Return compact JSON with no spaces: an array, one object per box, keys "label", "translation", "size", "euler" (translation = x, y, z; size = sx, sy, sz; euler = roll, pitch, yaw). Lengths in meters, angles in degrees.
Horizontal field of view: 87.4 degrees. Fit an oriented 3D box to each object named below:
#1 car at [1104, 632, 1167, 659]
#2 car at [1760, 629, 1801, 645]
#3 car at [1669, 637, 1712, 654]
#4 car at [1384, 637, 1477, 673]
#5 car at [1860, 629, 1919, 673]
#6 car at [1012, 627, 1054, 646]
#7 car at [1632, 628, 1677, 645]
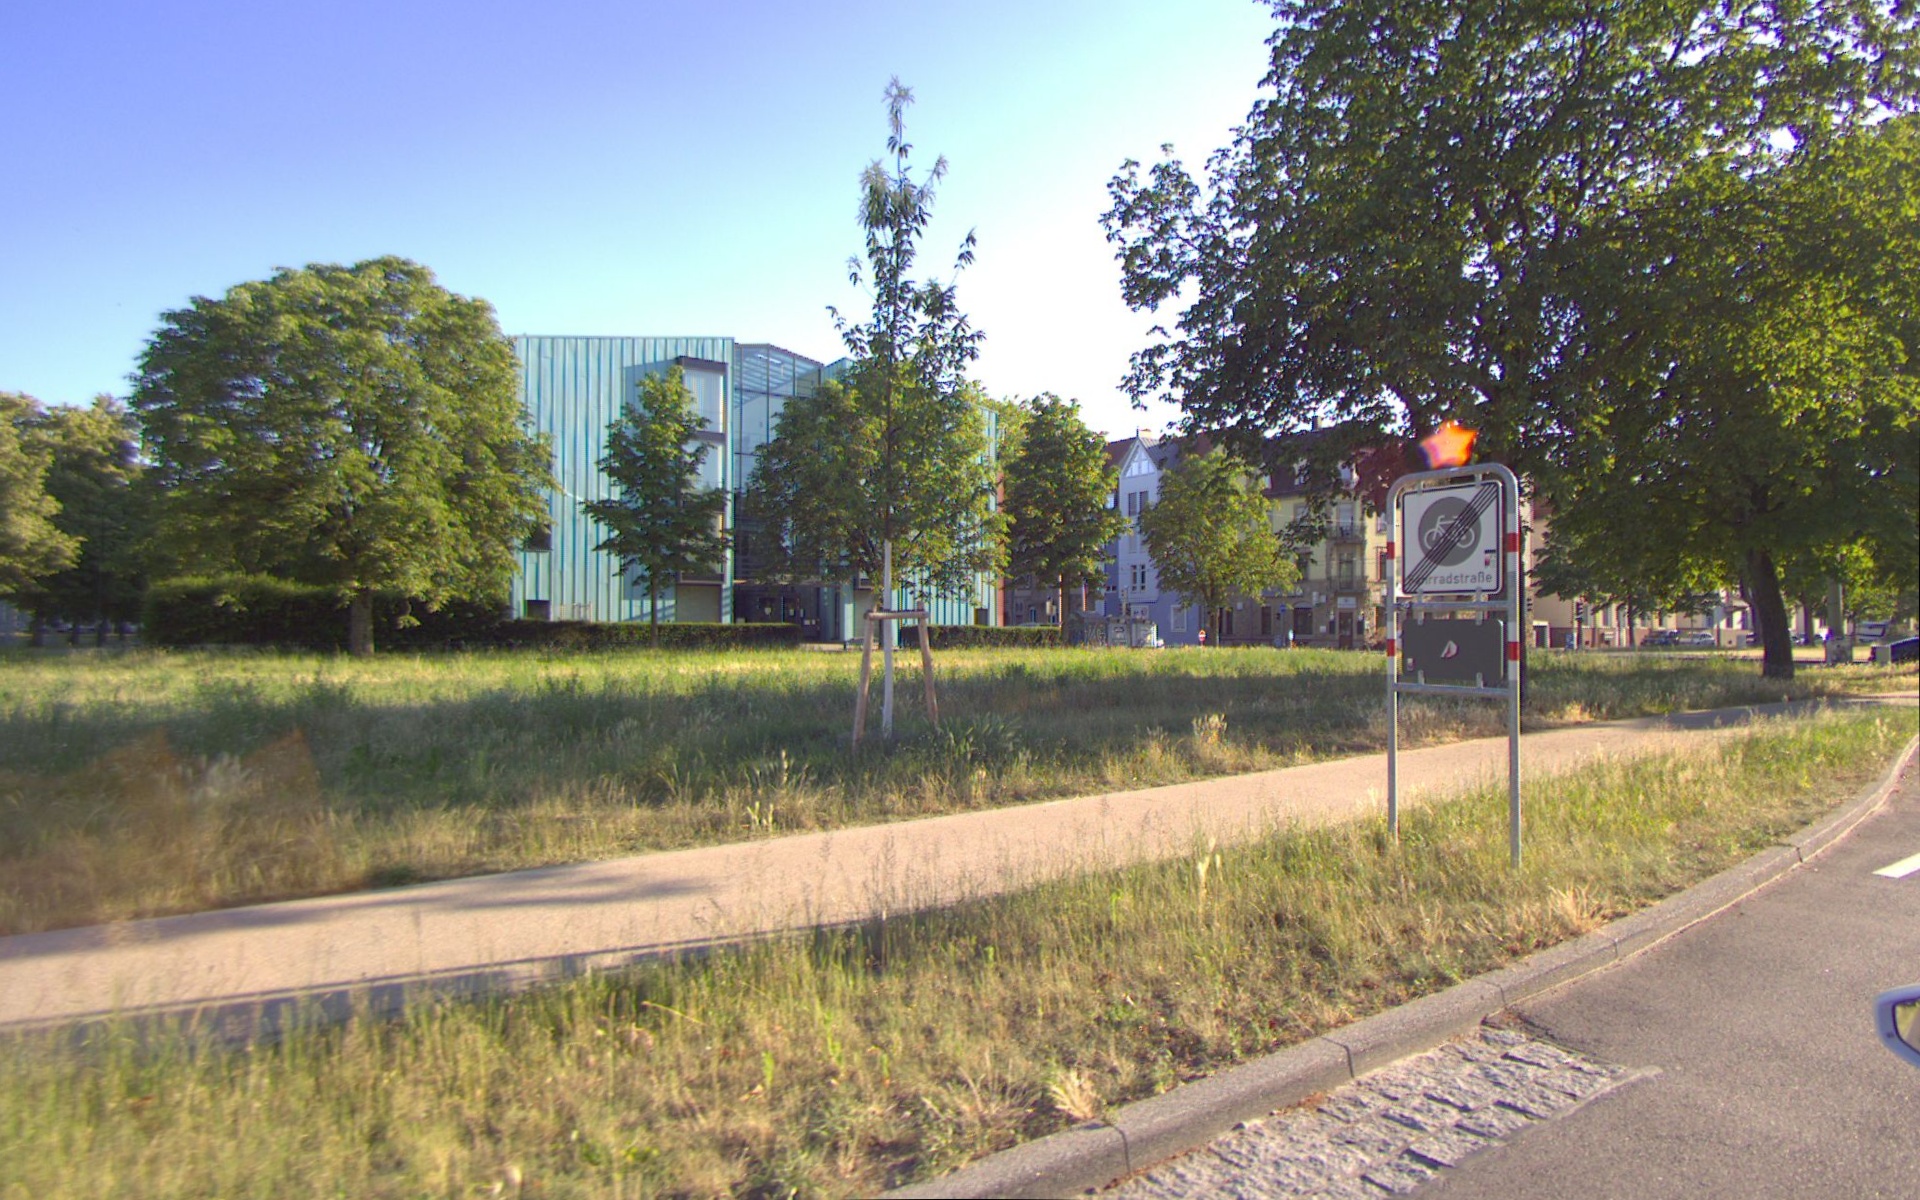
[{"label":"car","translation":[10.755,2.739,61.535],"size":[1.601,1.518,3.560],"euler":[1,-1,-44]},{"label":"car","translation":[73.963,3.320,90.523],"size":[3.749,1.446,1.729],"euler":[1,-1,-32]},{"label":"car","translation":[67.966,4.189,93.464],"size":[3.742,1.446,1.732],"euler":[-1,0,-26]},{"label":"car","translation":[22.273,2.574,47.614],"size":[1.729,1.508,3.652],"euler":[1,-1,-43]},{"label":"car","translation":[33.392,1.732,33.627],"size":[1.801,1.453,4.721],"euler":[1,-1,-42]},{"label":"car","translation":[6.888,3.457,95.415],"size":[2.074,1.612,4.013],"euler":[3,-2,-29]},{"label":"car","translation":[62.510,3.274,90.415],"size":[3.742,1.416,1.732],"euler":[-1,0,-26]}]
